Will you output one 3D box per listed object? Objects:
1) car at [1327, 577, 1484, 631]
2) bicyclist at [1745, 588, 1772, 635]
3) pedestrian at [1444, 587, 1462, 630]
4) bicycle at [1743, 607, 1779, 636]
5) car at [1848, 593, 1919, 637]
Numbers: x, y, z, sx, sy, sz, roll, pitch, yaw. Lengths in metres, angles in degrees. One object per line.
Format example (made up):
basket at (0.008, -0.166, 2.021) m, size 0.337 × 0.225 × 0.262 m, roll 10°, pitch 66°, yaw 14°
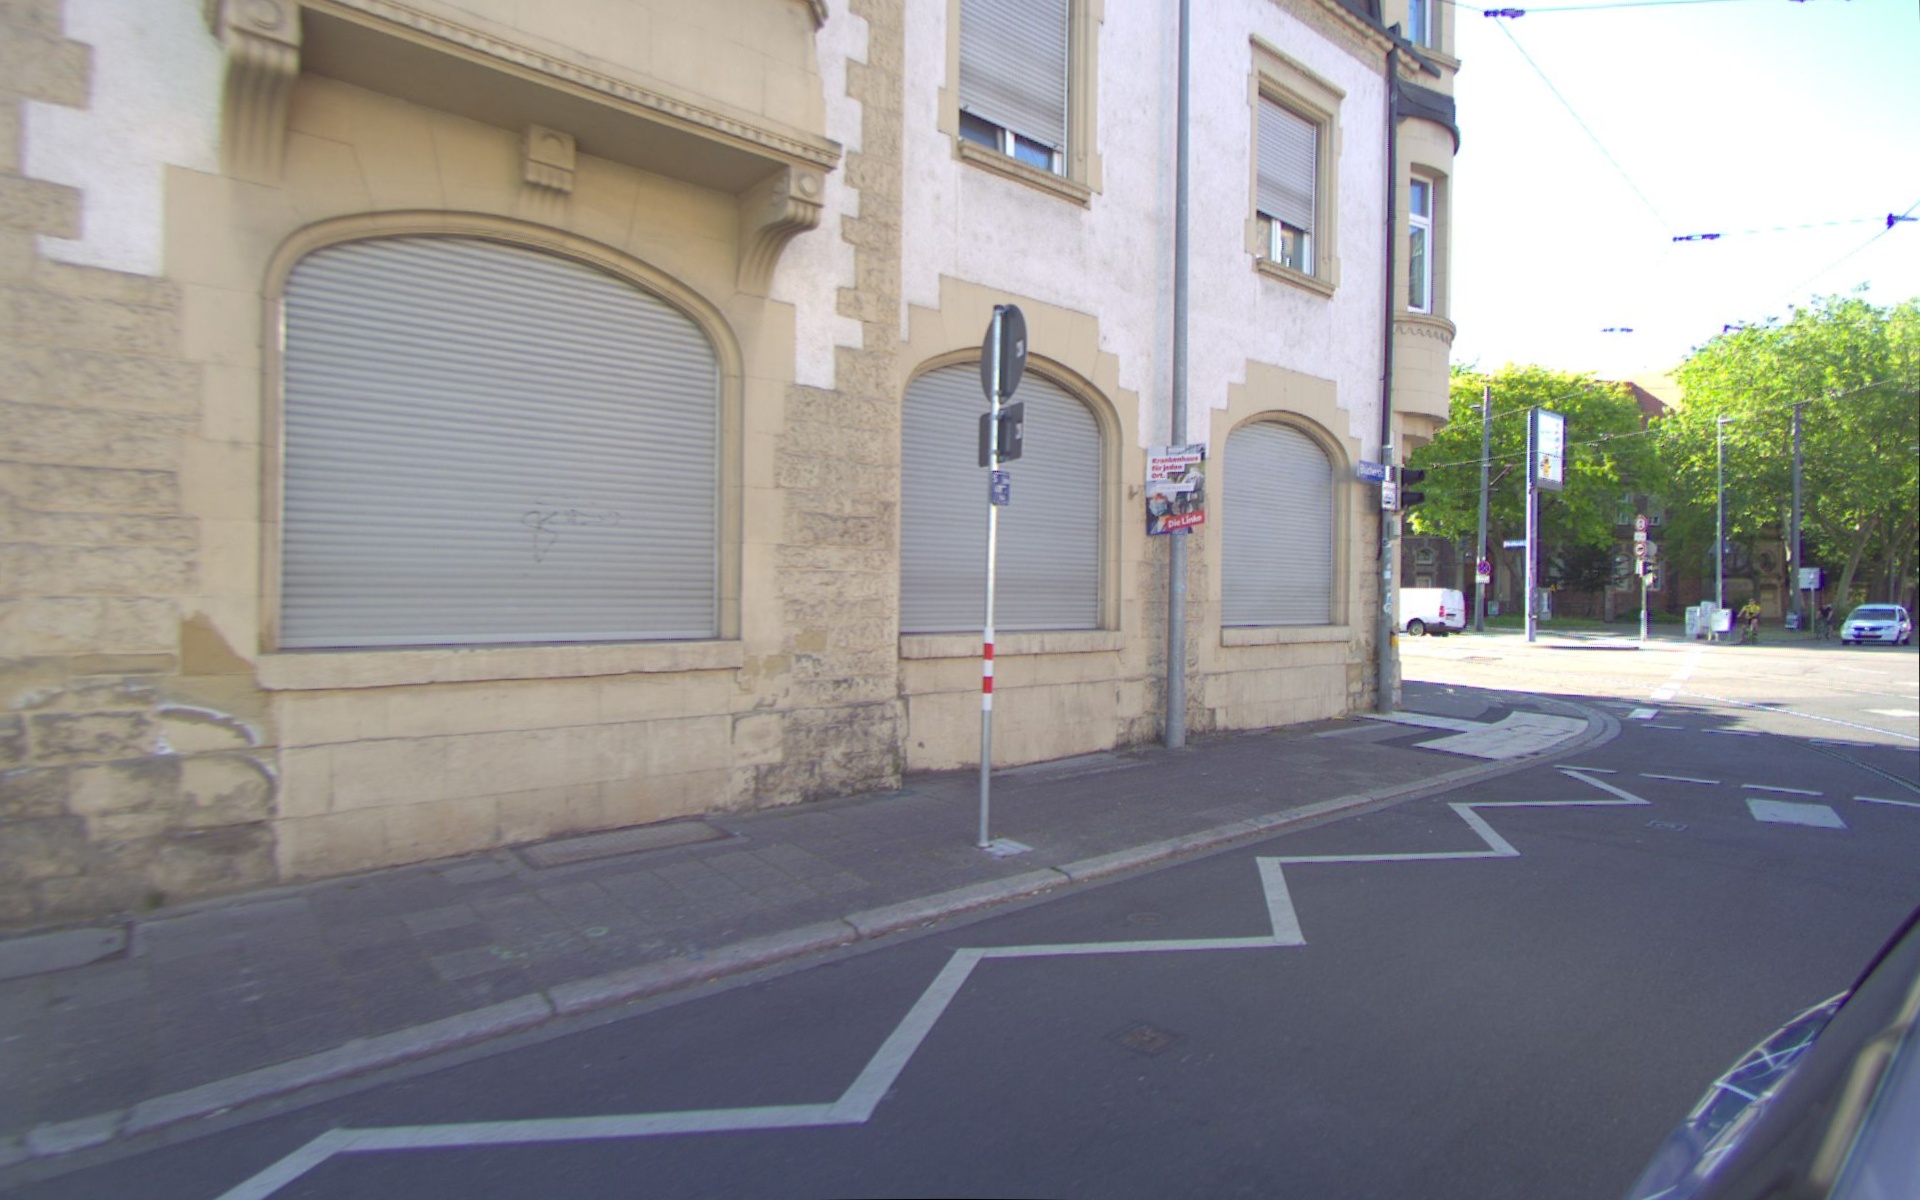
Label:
car at (17.325, 0.115, 39.649) m, size 2.124 × 1.953 × 5.302 m, roll 1°, pitch 0°, yaw -36°
bicyclist at (30.293, 0.423, 38.380) m, size 0.611 × 1.751 × 0.669 m, roll 4°, pitch -2°, yaw -40°
pedestrian at (20.638, 0.357, 42.378) m, size 0.664 × 1.769 × 0.481 m, roll 0°, pitch 0°, yaw 30°
bicycle at (30.560, 0.824, 38.608) m, size 2.061 × 1.047 × 0.690 m, roll 3°, pitch -1°, yaw -40°
car at (36.492, 0.587, 39.664) m, size 4.490 × 1.639 × 1.910 m, roll 1°, pitch -1°, yaw -40°
